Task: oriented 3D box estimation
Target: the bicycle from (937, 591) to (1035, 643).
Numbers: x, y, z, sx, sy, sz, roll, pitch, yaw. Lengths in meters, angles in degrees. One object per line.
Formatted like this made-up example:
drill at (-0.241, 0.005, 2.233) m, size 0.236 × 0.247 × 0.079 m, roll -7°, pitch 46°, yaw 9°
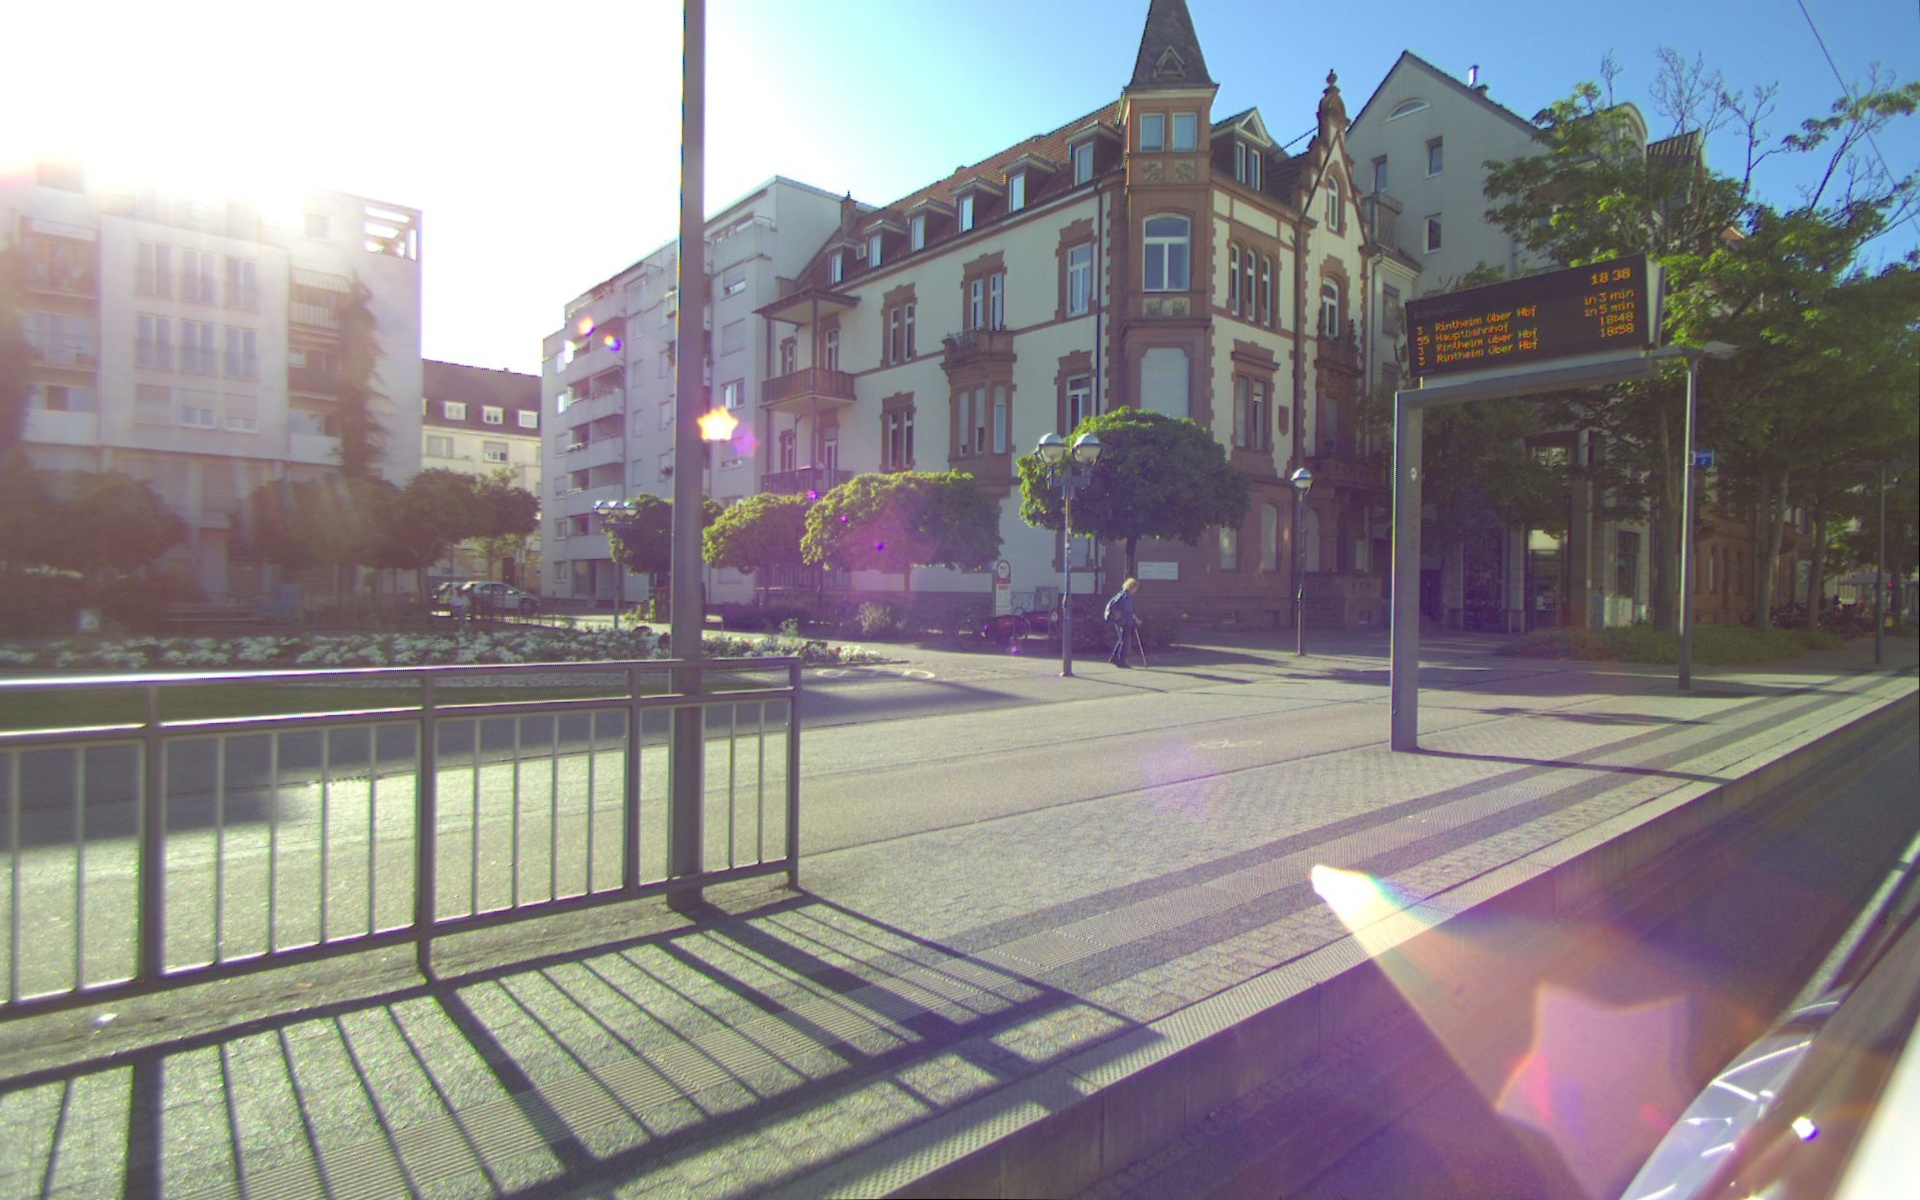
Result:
bicycle at (0.665, 0.378, 24.151) m, size 0.786 × 1.081 × 2.767 m, roll 1°, pitch 2°, yaw 40°

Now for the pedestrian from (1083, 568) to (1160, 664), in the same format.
pedestrian at (2.936, 0.269, 18.370) m, size 1.064 × 1.689 × 0.944 m, roll 1°, pitch 0°, yaw 37°

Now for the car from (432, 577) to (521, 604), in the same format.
car at (-24.964, -0.486, 52.273) m, size 3.923 × 1.304 × 2.001 m, roll 0°, pitch 1°, yaw -34°

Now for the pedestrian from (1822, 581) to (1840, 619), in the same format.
pedestrian at (47.851, -0.007, 55.577) m, size 0.549 × 2.039 × 0.654 m, roll 0°, pitch 0°, yaw -38°

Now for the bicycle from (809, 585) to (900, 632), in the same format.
bicycle at (-3.190, 0.244, 30.950) m, size 2.864 × 1.389 × 0.745 m, roll 0°, pitch 1°, yaw -41°

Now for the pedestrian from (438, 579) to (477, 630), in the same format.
pedestrian at (-14.626, 0.105, 29.434) m, size 0.917 × 1.429 × 1.529 m, roll 0°, pitch 1°, yaw -30°

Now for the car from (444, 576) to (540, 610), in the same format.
car at (-22.244, -0.335, 48.132) m, size 3.923 × 1.536 × 2.001 m, roll 0°, pitch 1°, yaw -34°

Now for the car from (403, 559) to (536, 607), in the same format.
car at (-27.924, -0.950, 57.763) m, size 2.806 × 2.587 × 6.296 m, roll 1°, pitch 1°, yaw 44°

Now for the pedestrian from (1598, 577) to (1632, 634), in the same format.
pedestrian at (20.764, 0.162, 32.081) m, size 0.740 × 1.757 × 0.864 m, roll 1°, pitch 0°, yaw 43°
